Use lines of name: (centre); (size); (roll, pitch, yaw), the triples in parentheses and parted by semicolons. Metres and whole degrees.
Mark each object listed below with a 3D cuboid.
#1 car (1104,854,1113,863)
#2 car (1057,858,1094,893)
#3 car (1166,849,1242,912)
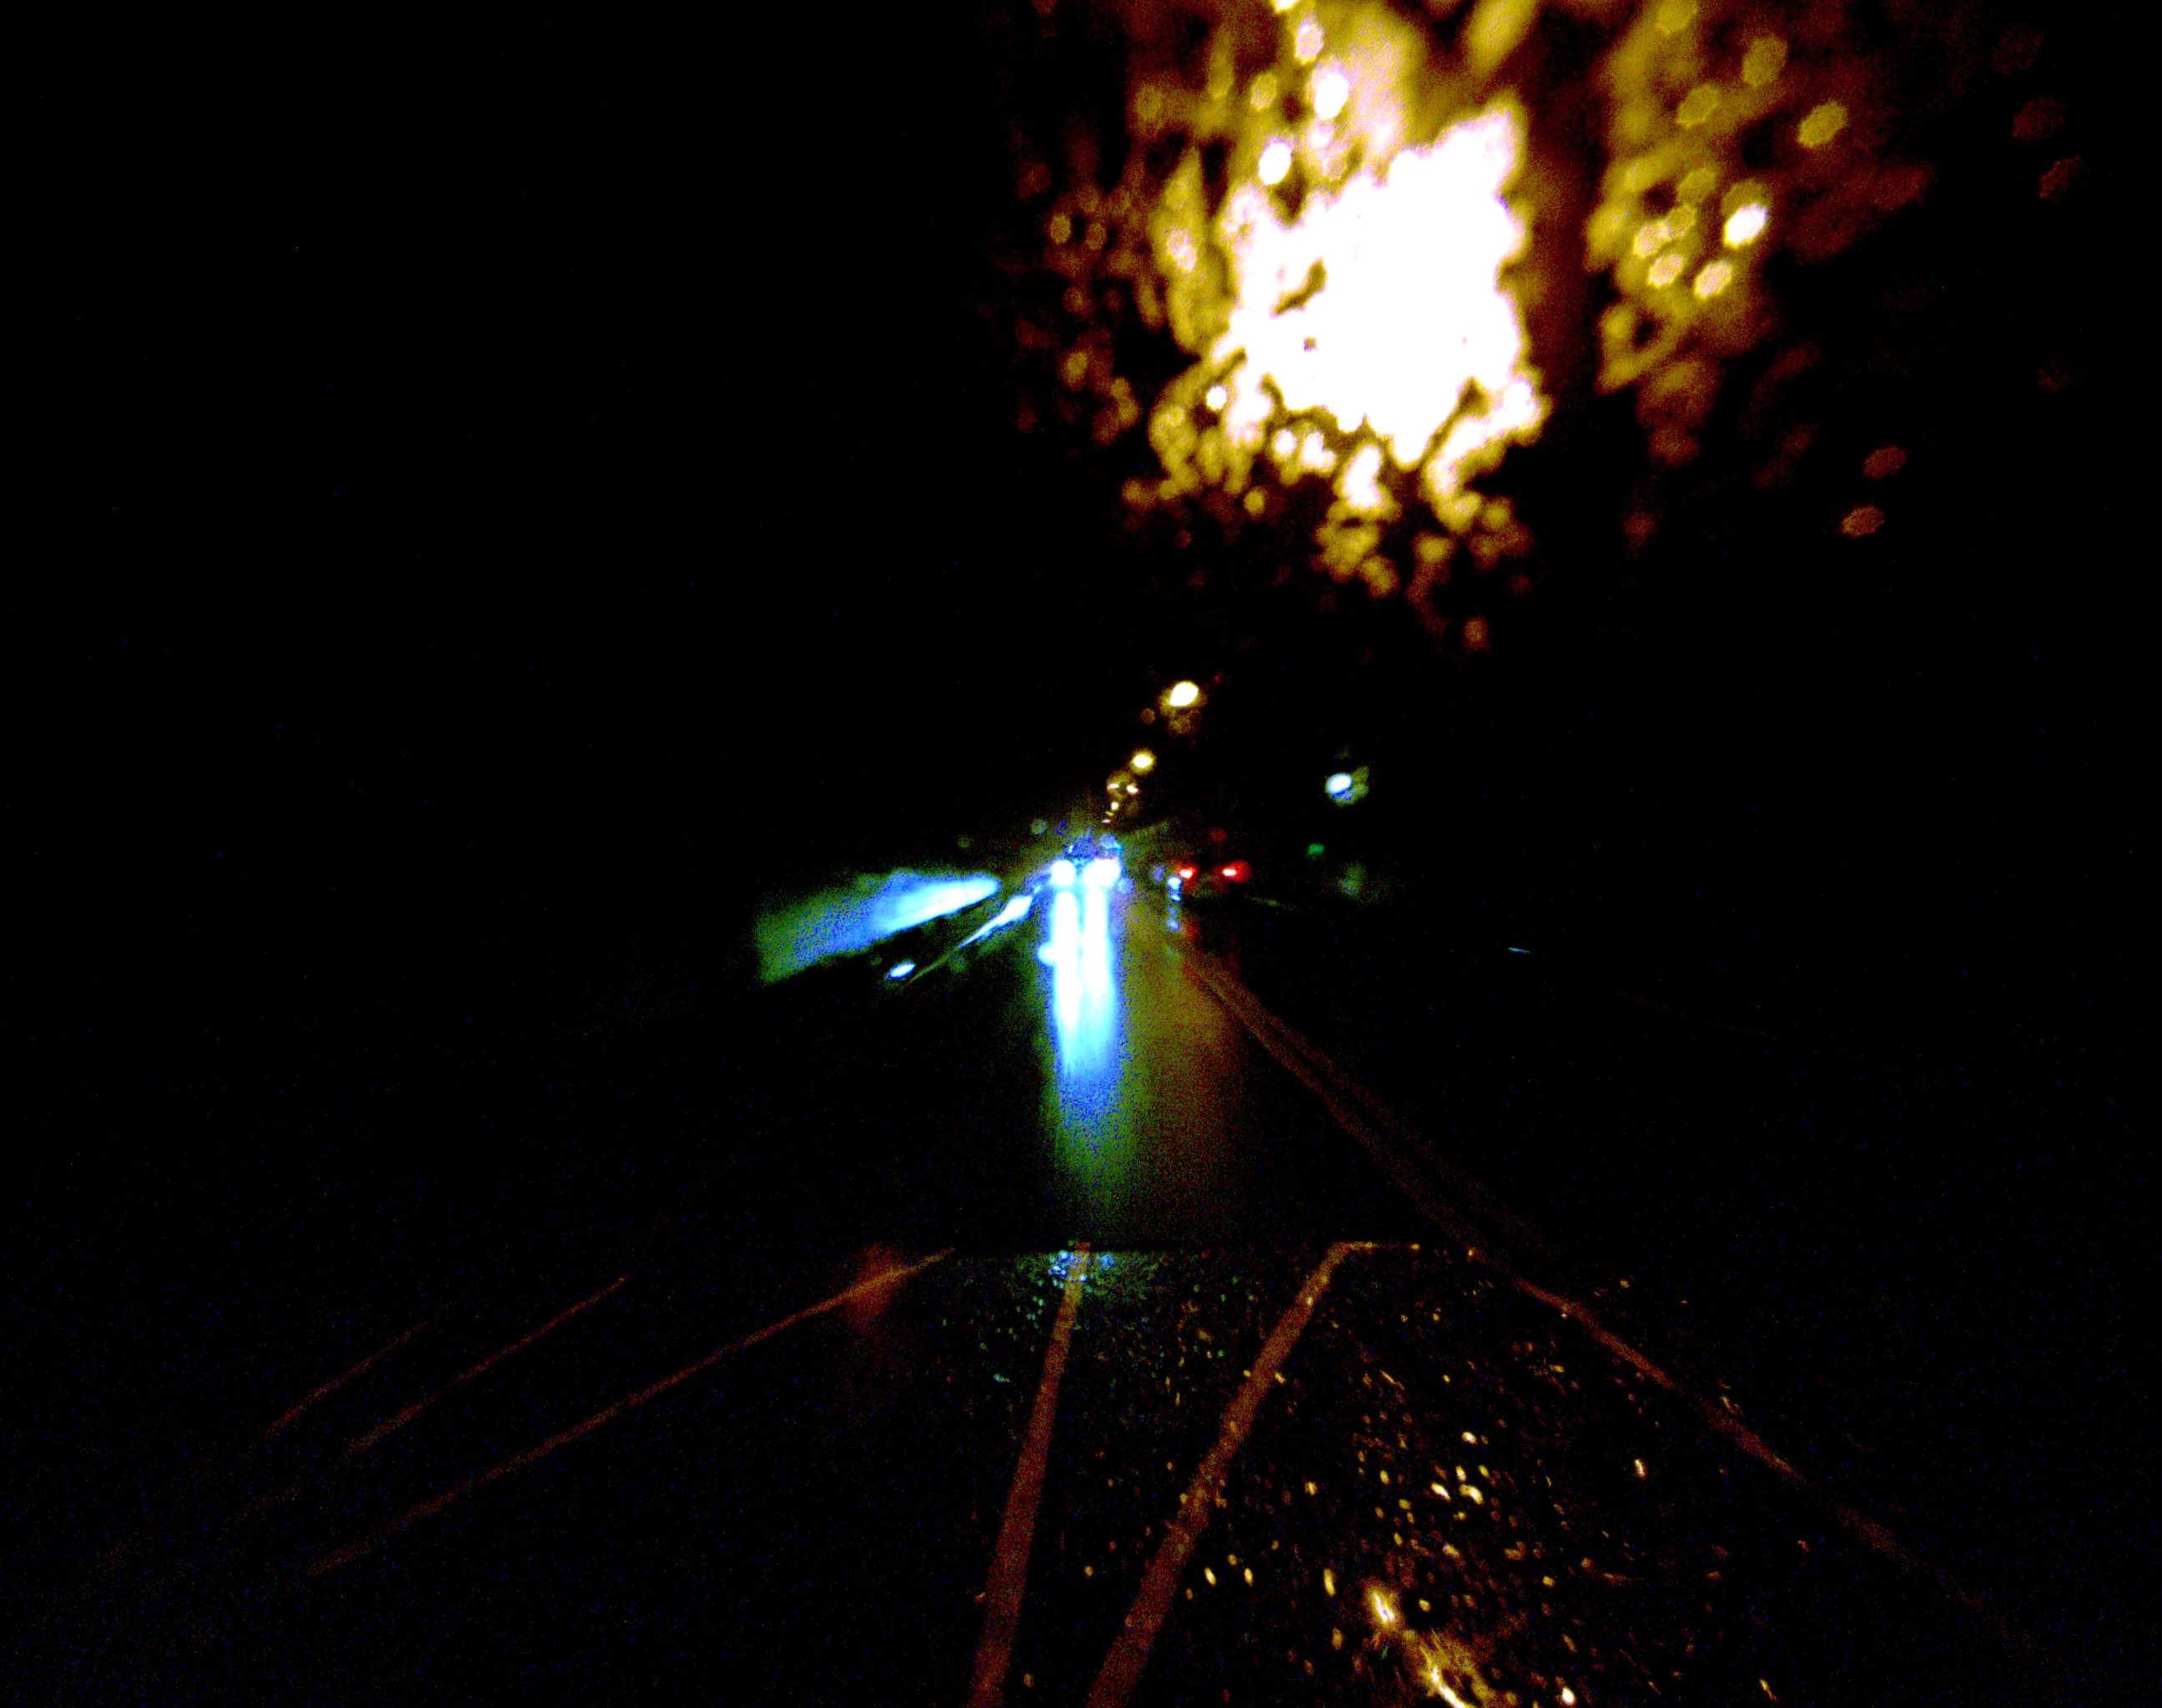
car: (5.268, 0.888, 145.135); (1.639, 1.618, 4.145); (-2, 1, 1)
car: (-0.229, 0.975, 36.225); (1.627, 1.487, 3.584); (-2, 1, 1)
car: (3.480, 0.693, 22.080); (1.627, 1.603, 3.584); (-2, 1, 1)
